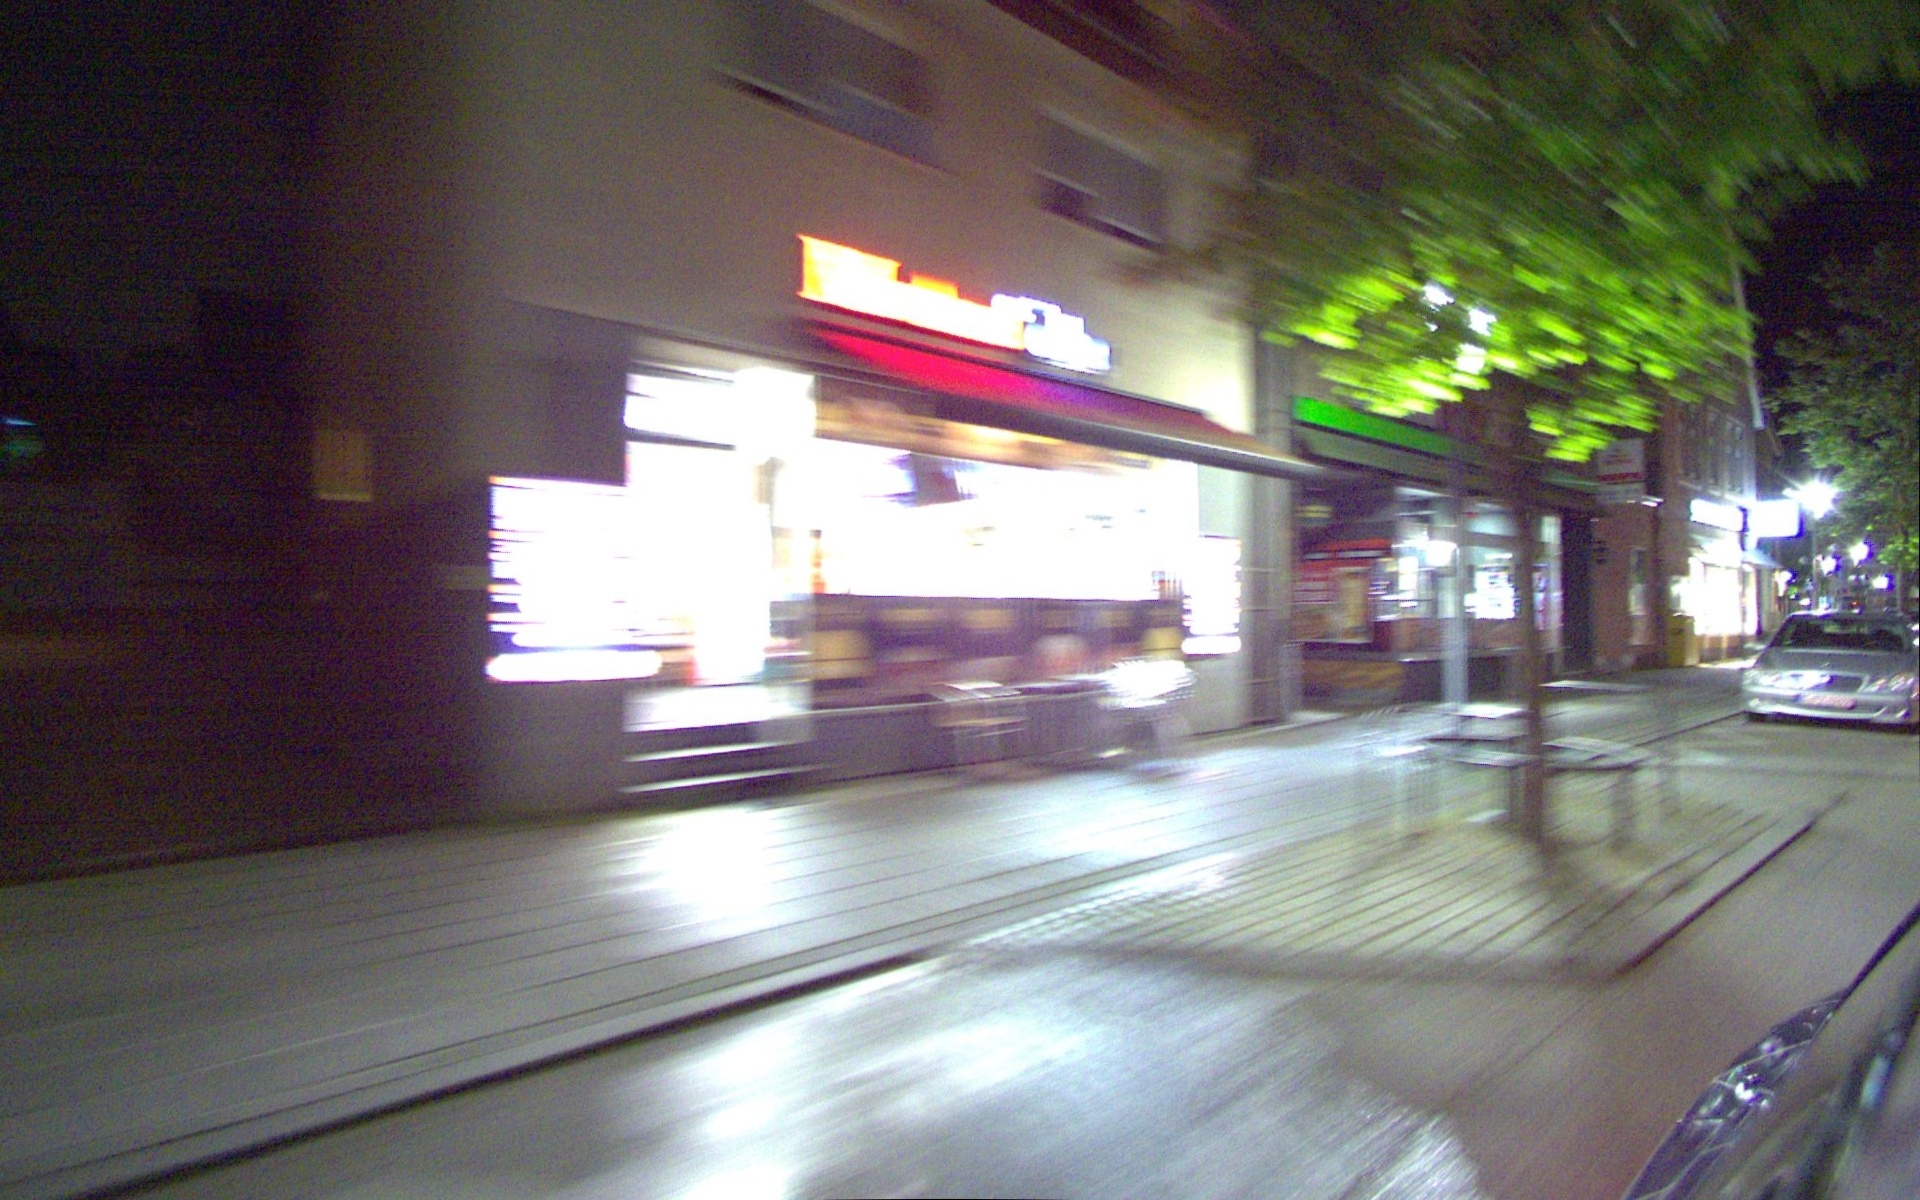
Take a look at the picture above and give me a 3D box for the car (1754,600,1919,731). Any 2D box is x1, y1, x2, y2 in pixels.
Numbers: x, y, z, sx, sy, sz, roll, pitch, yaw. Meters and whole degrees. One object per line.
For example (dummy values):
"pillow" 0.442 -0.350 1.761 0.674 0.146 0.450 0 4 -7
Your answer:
"car" 11.931 0.754 13.452 1.734 1.459 4.424 0 0 44

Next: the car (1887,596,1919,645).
"car" 32.381 0.663 33.990 1.741 1.506 4.567 0 1 41
